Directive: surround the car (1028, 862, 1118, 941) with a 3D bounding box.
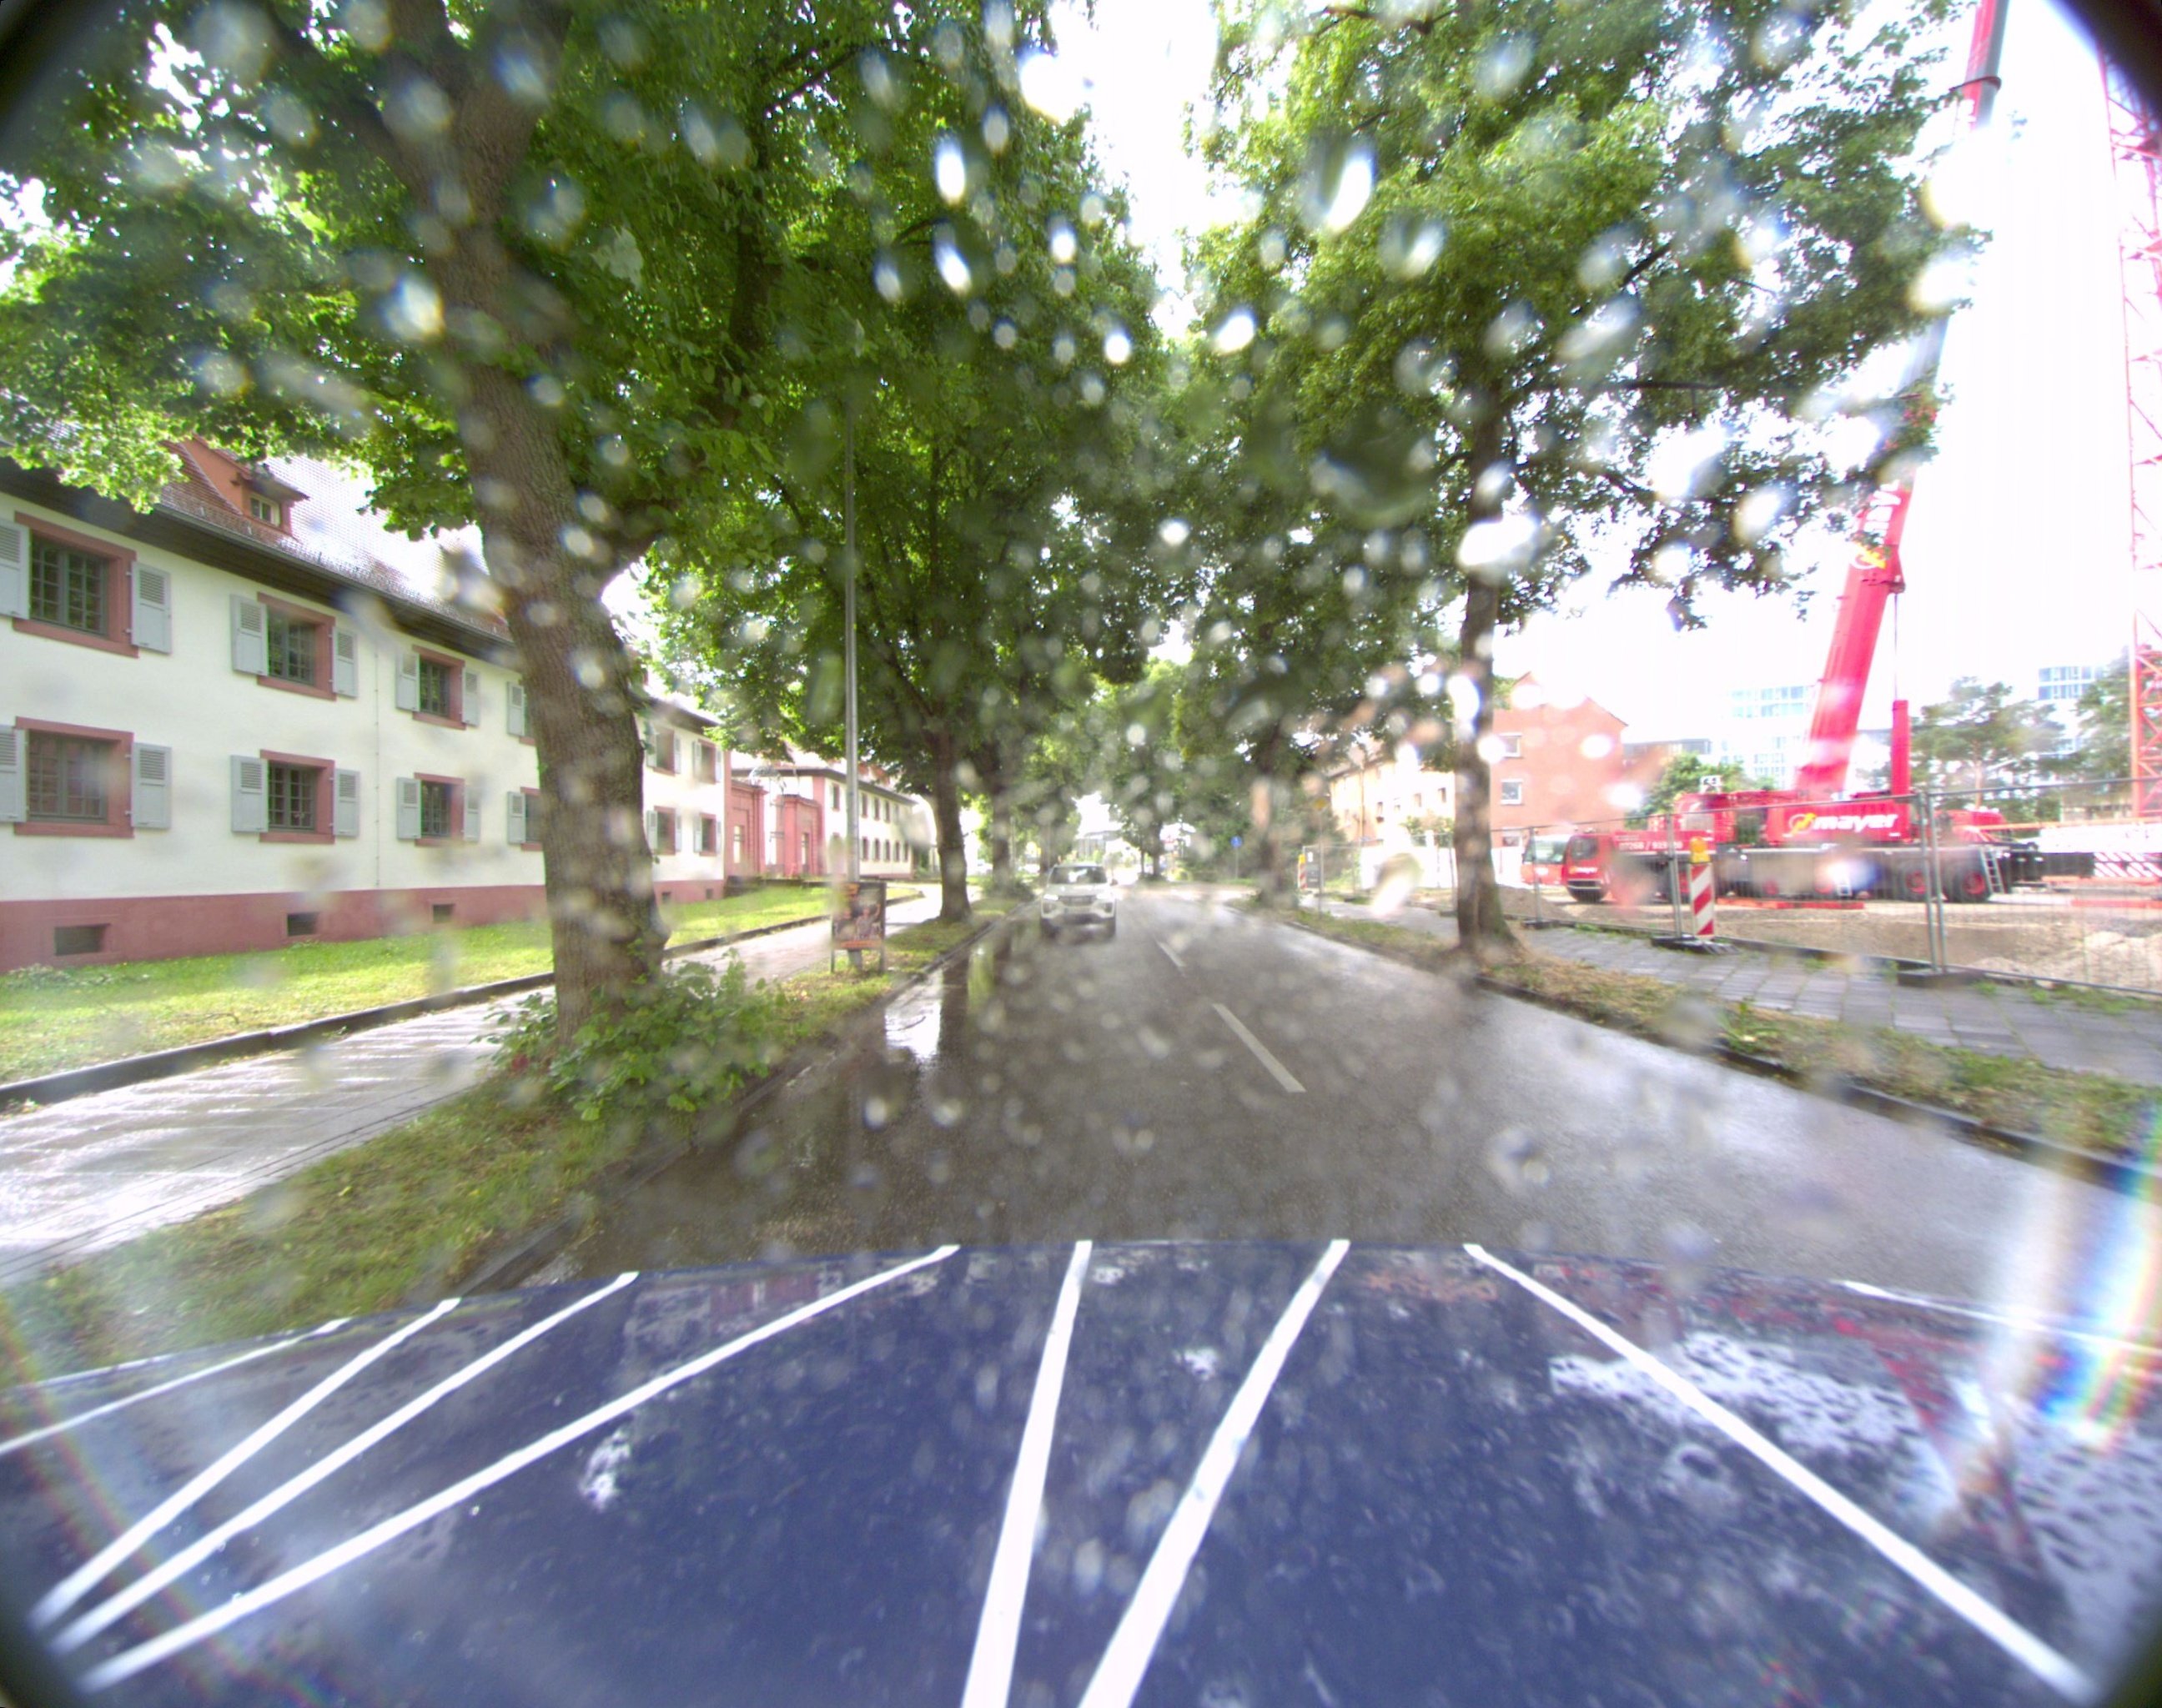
[{"bbox_3d":[-0.079,0.972,16.977,1.736,1.524,3.618,-2,-1,3],"label":"car"}]

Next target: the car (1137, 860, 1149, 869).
[{"bbox_3d":[10.981,1.842,134.317,1.891,1.703,4.230,0,-1,1],"label":"car"}]

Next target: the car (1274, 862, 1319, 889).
[{"bbox_3d":[12.863,1.246,45.558,1.628,1.412,3.870,-2,1,1],"label":"car"}]

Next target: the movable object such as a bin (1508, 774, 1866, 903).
[{"bbox_3d":[21.196,-0.470,27.164,9.834,4.090,3.367,-1,-1,3],"label":"movable object such as a bin"}]

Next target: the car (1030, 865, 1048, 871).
[{"bbox_3d":[-8.806,2.899,158.199,3.451,1.229,1.496,-1,-1,21],"label":"car"}]

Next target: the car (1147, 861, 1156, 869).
[{"bbox_3d":[13.587,2.053,146.580,1.683,1.499,3.795,0,-1,4],"label":"car"}]

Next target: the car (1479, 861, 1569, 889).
[{"bbox_3d":[24.054,1.118,41.288,4.067,1.404,1.726,0,0,-11],"label":"car"}]
